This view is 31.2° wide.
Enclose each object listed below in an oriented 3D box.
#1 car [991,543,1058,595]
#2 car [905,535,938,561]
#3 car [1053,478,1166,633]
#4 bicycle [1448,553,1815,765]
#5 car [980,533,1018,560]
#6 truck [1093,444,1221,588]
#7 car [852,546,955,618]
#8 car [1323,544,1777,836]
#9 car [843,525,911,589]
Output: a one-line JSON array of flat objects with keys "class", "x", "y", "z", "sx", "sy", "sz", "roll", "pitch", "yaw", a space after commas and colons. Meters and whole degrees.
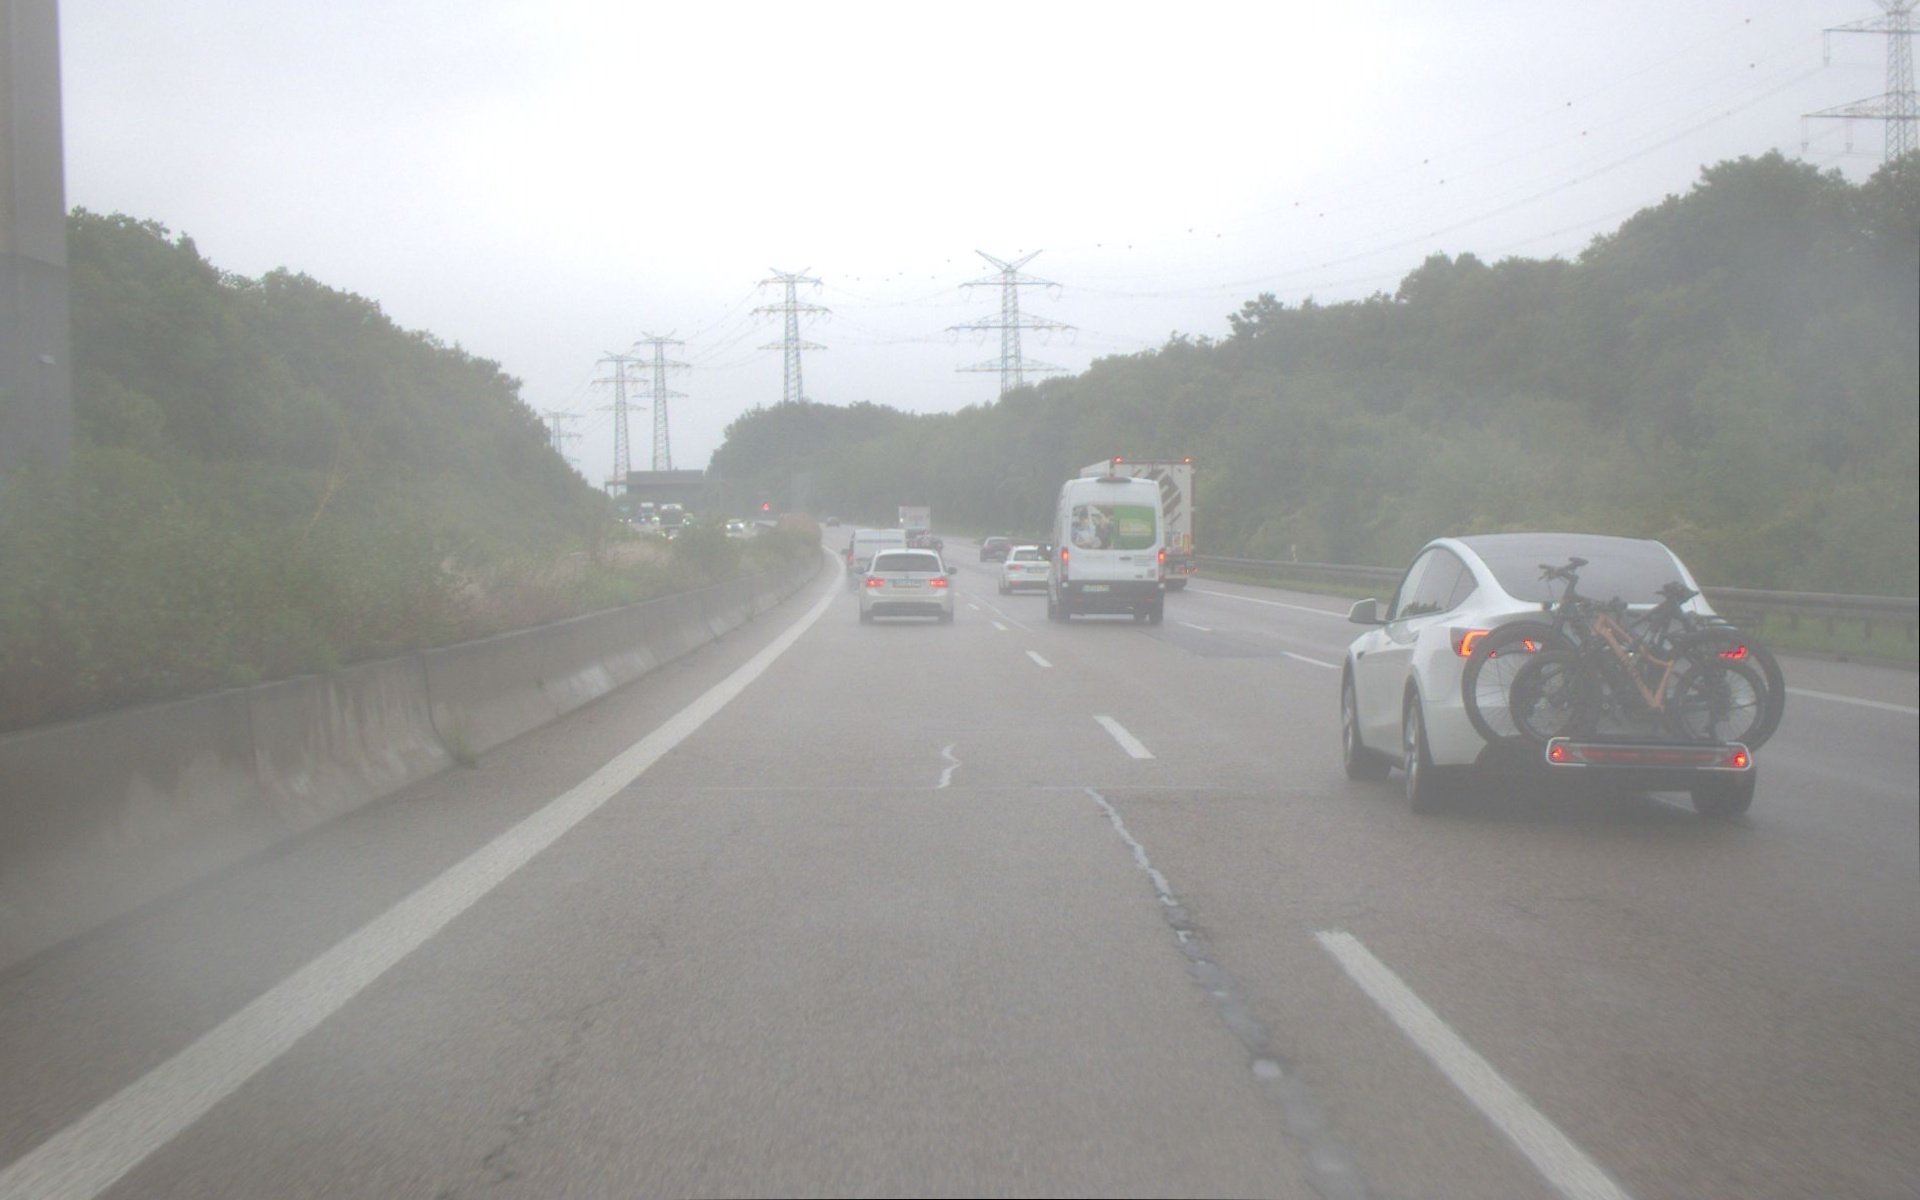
[{"class": "car", "x": 1.826, "y": -0.904, "z": 98.448, "sx": 1.857, "sy": 1.418, "sz": 4.000, "roll": 0, "pitch": 1, "yaw": 1}, {"class": "car", "x": -2.389, "y": -3.258, "z": 215.408, "sx": 1.993, "sy": 1.568, "sz": 4.000, "roll": -2, "pitch": 0, "yaw": 0}, {"class": "car", "x": 2.846, "y": -0.847, "z": 66.204, "sx": 1.993, "sy": 2.854, "sz": 4.000, "roll": -1, "pitch": 1, "yaw": 1}, {"class": "bicycle", "x": 3.529, "y": 0.302, "z": 18.193, "sx": 1.753, "sy": 1.087, "sz": 0.914, "roll": 0, "pitch": 0, "yaw": -1}, {"class": "car", "x": 2.228, "y": -3.061, "z": 197.170, "sx": 1.993, "sy": 1.481, "sz": 4.000, "roll": -3, "pitch": 1, "yaw": -1}, {"class": "truck", "x": 6.200, "y": -2.639, "z": 110.274, "sx": 3.603, "sy": 4.317, "sz": 13.200, "roll": -1, "pitch": 1, "yaw": 1}, {"class": "car", "x": -1.053, "y": -0.359, "z": 65.255, "sx": 1.866, "sy": 1.284, "sz": 4.000, "roll": -1, "pitch": 1, "yaw": 0}, {"class": "car", "x": 3.466, "y": 0.451, "z": 21.160, "sx": 1.860, "sy": 1.562, "sz": 4.964, "roll": 0, "pitch": 1, "yaw": -1}, {"class": "car", "x": -2.347, "y": -1.213, "z": 98.069, "sx": 1.846, "sy": 1.766, "sz": 4.000, "roll": 1, "pitch": 1, "yaw": 0}]
